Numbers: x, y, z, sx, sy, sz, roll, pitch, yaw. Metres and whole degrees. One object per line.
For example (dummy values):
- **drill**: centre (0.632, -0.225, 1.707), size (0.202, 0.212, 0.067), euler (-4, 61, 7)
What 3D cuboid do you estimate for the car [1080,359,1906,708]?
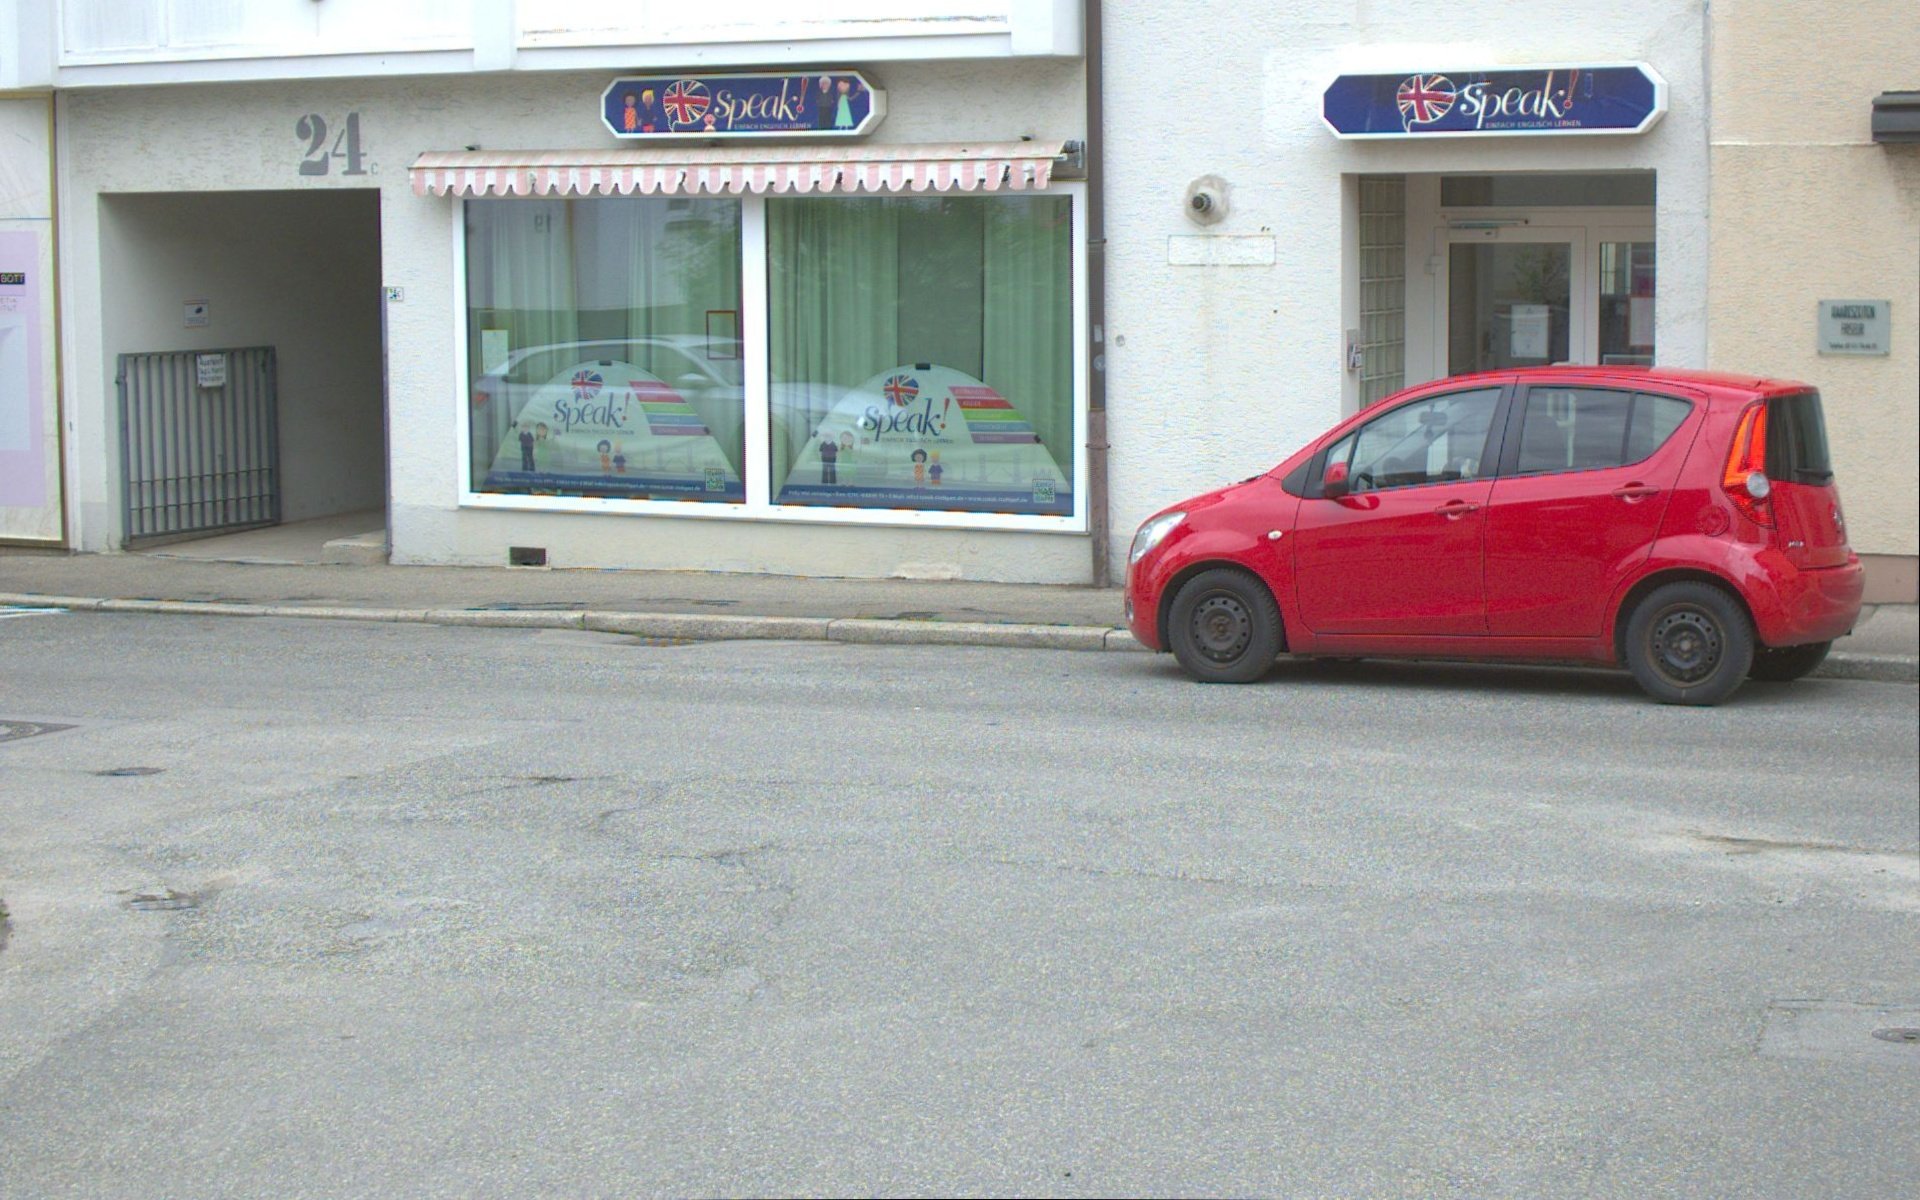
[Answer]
- **car**: centre (2.629, -0.411, 17.125), size (3.689, 1.551, 1.695), euler (3, 5, 29)
